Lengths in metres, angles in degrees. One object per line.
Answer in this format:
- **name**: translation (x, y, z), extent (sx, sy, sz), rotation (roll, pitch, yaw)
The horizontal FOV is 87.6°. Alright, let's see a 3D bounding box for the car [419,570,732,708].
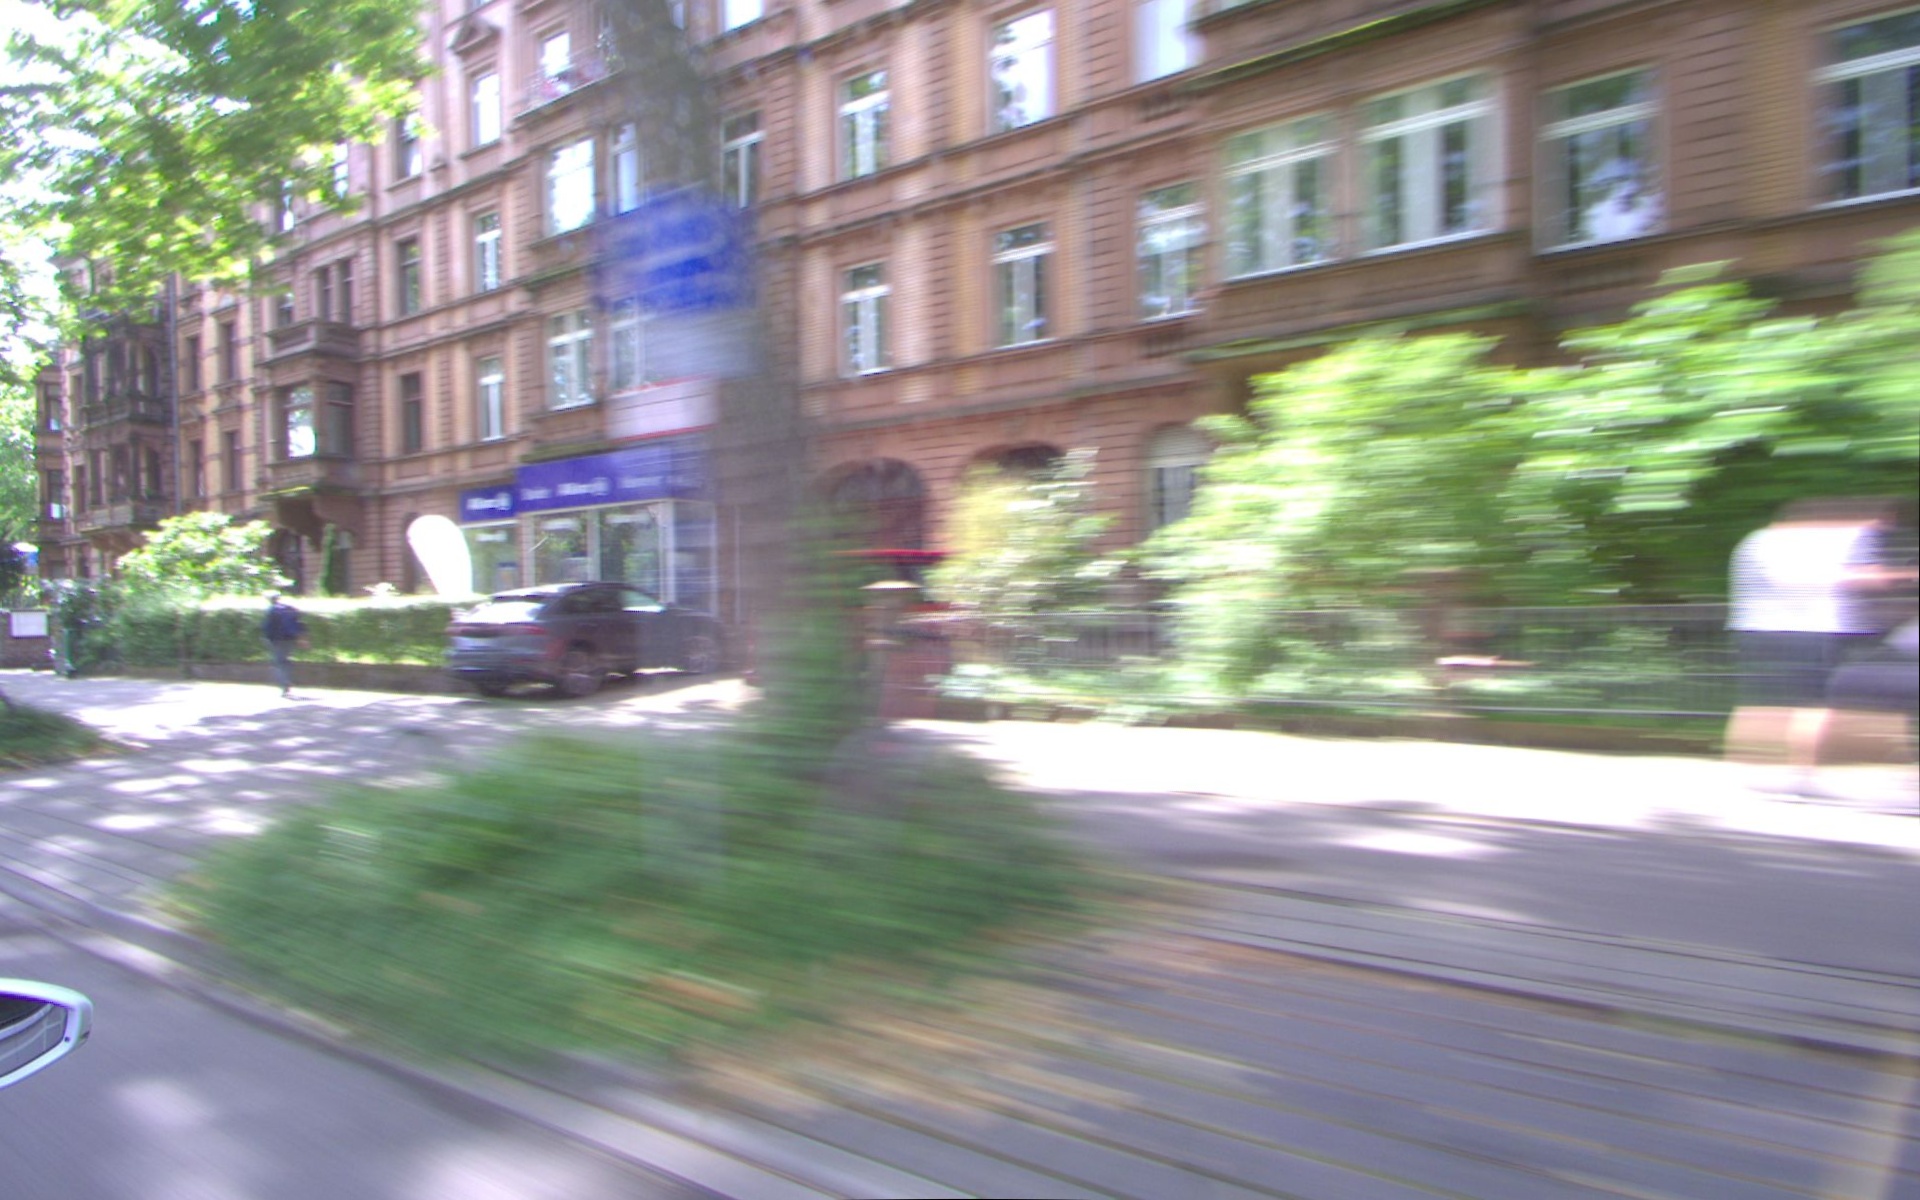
- **car**: translation (-6.047, 0.501, 16.465), extent (1.972, 1.807, 4.717), rotation (-1, 3, 24)

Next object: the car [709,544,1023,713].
- **car**: translation (-1.148, 0.251, 14.218), extent (1.958, 1.966, 4.378), rotation (0, 3, 37)

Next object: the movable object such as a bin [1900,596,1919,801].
- **movable object such as a bin**: translation (6.233, 0.591, 5.770), extent (1.042, 1.226, 0.606), rotation (-1, 3, 27)

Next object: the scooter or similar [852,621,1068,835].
- **scooter or similar**: translation (-0.016, 0.750, 6.308), extent (1.304, 1.227, 0.466), rotation (-1, 1, 32)

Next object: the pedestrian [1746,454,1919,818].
- **pedestrian**: translation (5.477, 0.192, 5.969), extent (1.102, 2.042, 0.763), rotation (0, 3, 28)

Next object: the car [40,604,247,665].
- **car**: translation (-23.575, 0.954, 29.067), extent (1.914, 1.489, 4.224), rotation (-1, 1, 32)

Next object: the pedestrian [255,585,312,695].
- **pedestrian**: translation (-11.456, 0.663, 16.964), extent (0.621, 1.810, 0.563), rotation (0, 1, 32)

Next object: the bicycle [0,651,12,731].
- **bicycle**: translation (-13.131, 1.192, 13.152), extent (1.303, 1.033, 0.579), rotation (-1, 1, 27)
